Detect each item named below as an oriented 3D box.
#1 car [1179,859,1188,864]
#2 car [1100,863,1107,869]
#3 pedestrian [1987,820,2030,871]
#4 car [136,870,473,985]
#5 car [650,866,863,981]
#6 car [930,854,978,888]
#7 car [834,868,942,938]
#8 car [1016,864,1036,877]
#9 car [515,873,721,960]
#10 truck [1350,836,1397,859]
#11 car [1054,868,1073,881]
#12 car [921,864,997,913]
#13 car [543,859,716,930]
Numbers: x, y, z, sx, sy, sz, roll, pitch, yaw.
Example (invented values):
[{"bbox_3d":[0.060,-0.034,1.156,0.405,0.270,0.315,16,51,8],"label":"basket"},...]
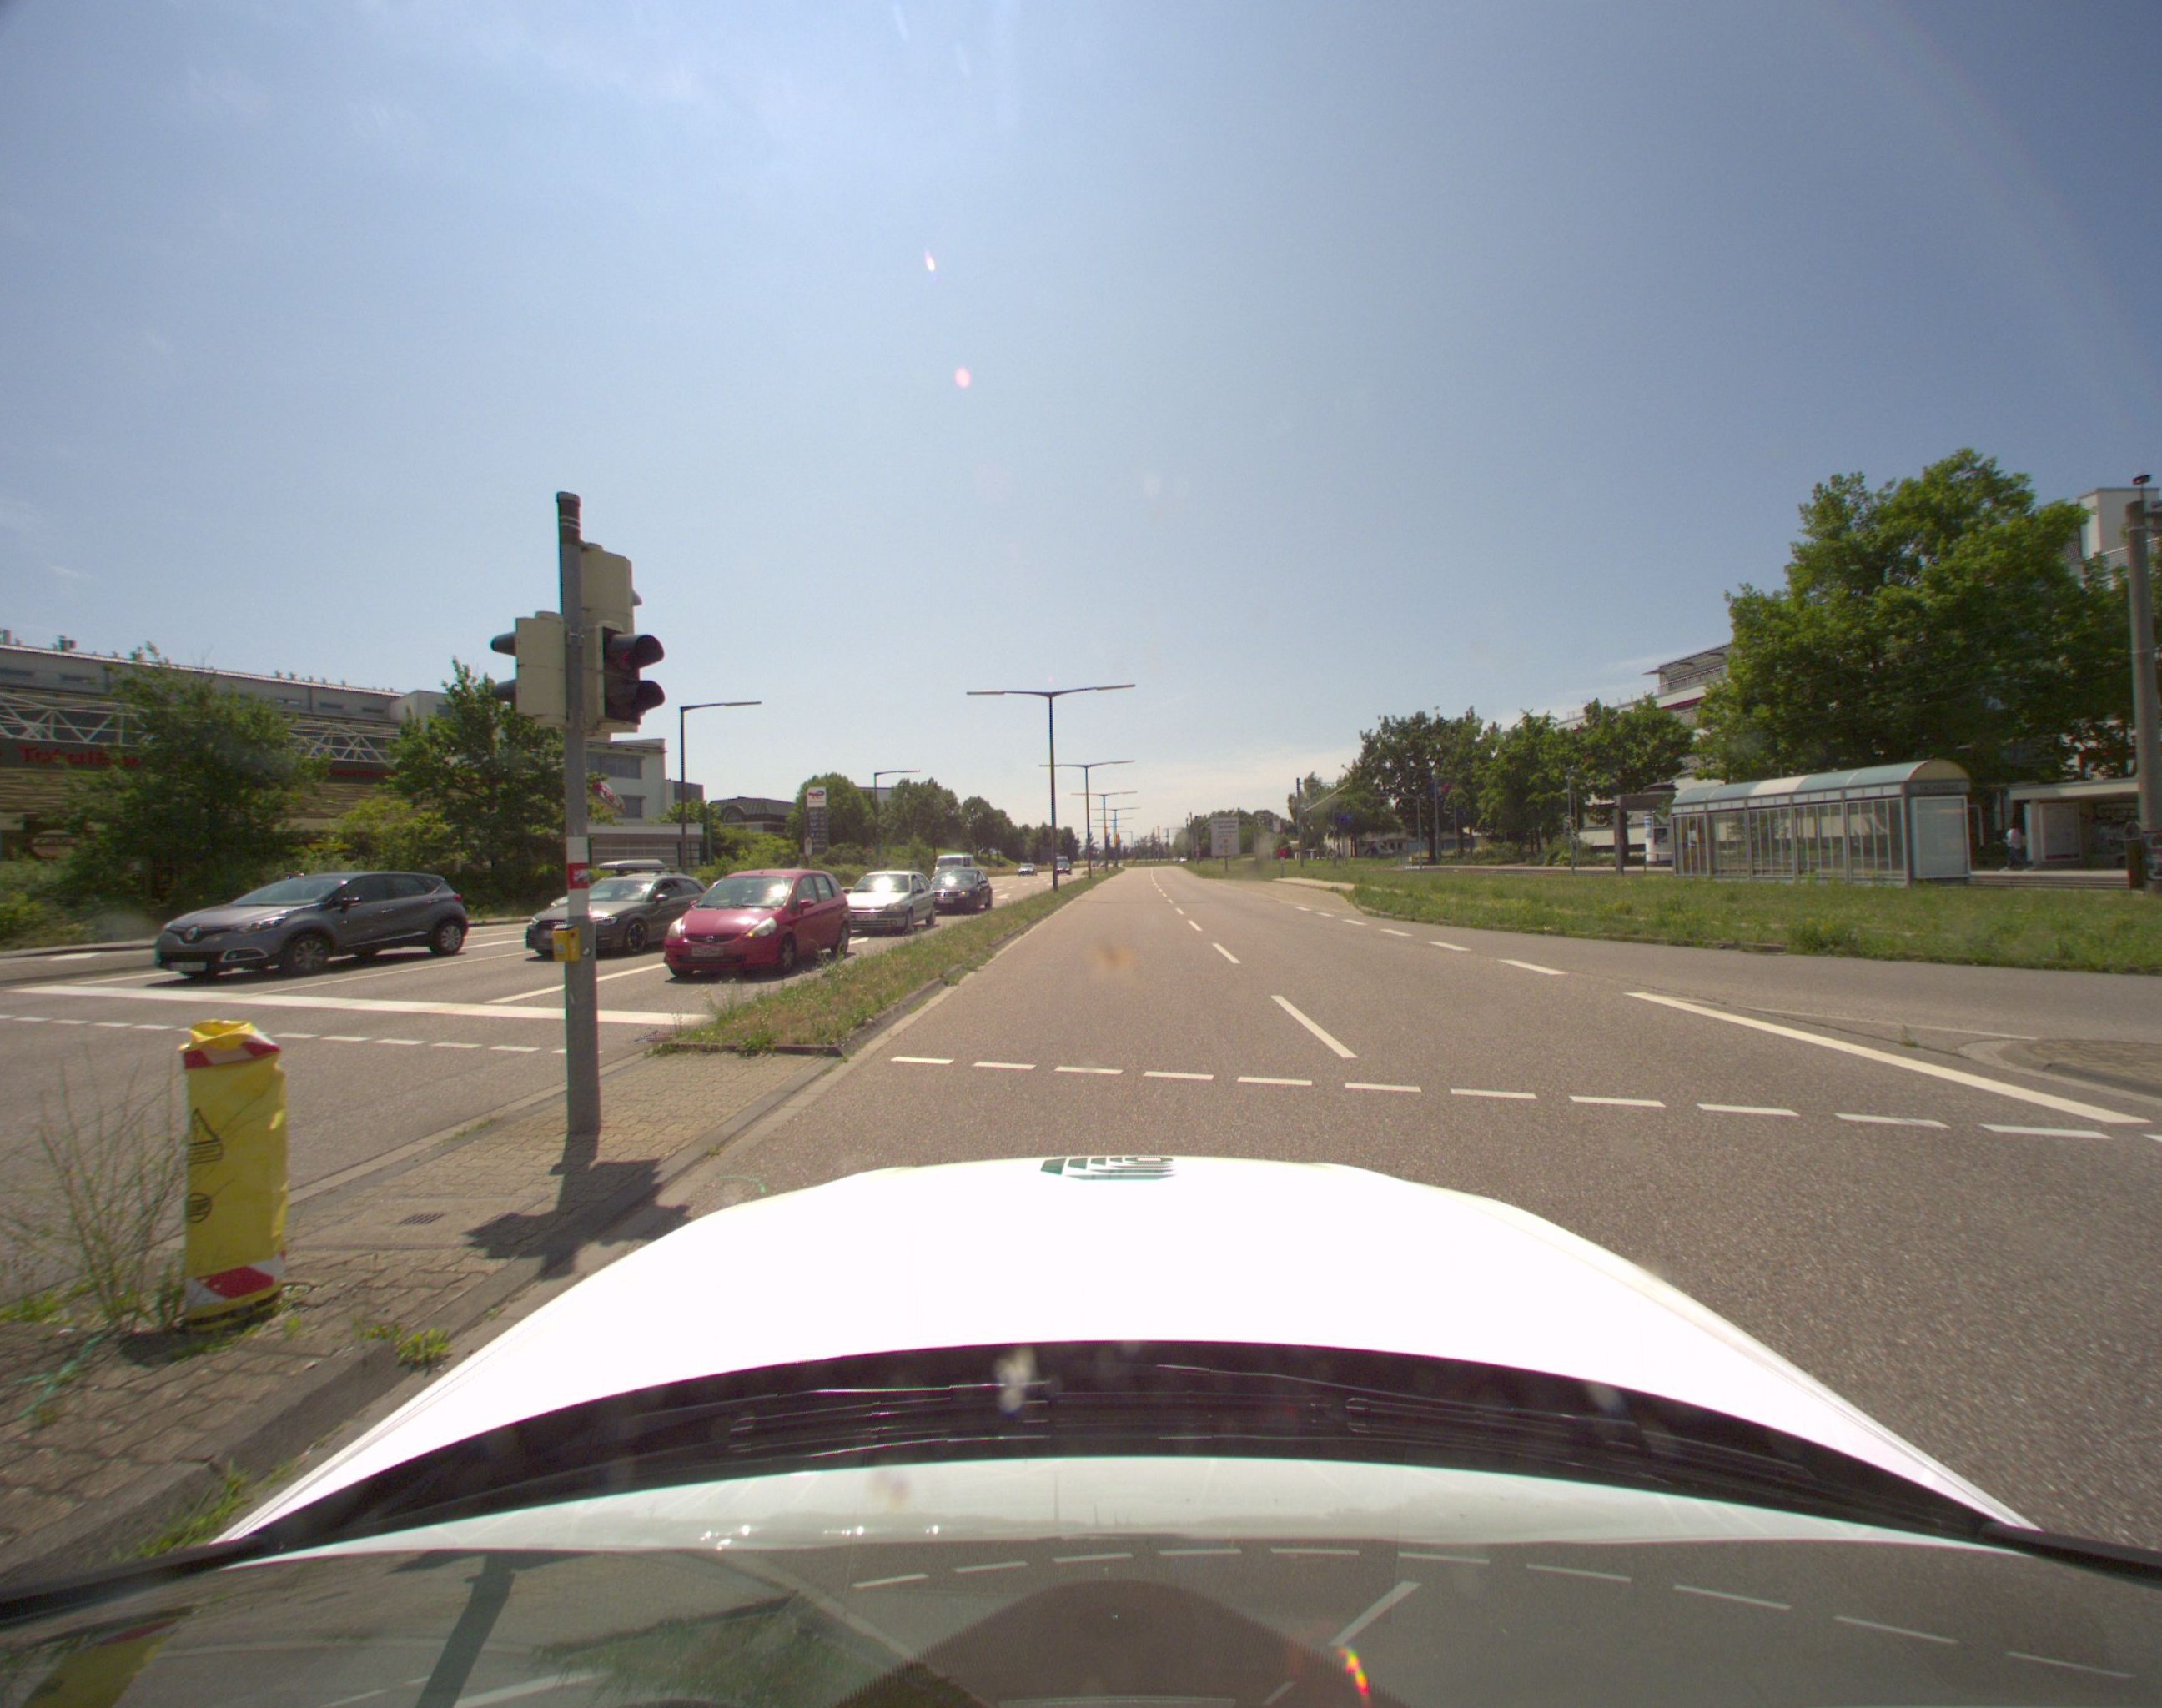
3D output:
[{"bbox_3d":[26.677,1.937,212.119,1.559,1.179,3.076,-3,-1,-3],"label":"car"},{"bbox_3d":[6.196,3.241,225.602,1.685,1.492,4.003,-2,-1,3],"label":"car"},{"bbox_3d":[29.983,-0.255,26.324,0.549,1.608,0.691,-1,-2,4],"label":"pedestrian"},{"bbox_3d":[-12.457,1.077,13.493,1.652,1.539,4.001,-2,-1,2],"label":"car"},{"bbox_3d":[-4.912,0.966,12.979,1.652,1.490,4.001,-2,-1,2],"label":"car"},{"bbox_3d":[-9.019,1.190,58.456,2.239,2.273,5.454,-1,-1,4],"label":"car"},{"bbox_3d":[-4.518,1.105,19.621,1.555,1.423,3.855,-1,0,2],"label":"car"},{"bbox_3d":[-6.520,1.961,97.426,1.823,1.449,4.854,-2,-1,2],"label":"car"},{"bbox_3d":[-8.716,1.108,15.775,1.590,1.385,4.005,-1,-1,2],"label":"car"},{"bbox_3d":[42.325,-0.912,118.002,5.830,2.843,2.316,-3,-1,-5],"label":"truck"},{"bbox_3d":[-2.118,2.465,100.576,1.721,1.458,4.573,-2,-1,7],"label":"car"},{"bbox_3d":[-3.893,1.074,26.618,1.669,1.434,4.193,-1,-1,2],"label":"car"},{"bbox_3d":[-12.591,1.043,23.175,1.957,1.750,5.024,-2,-1,2],"label":"car"}]
